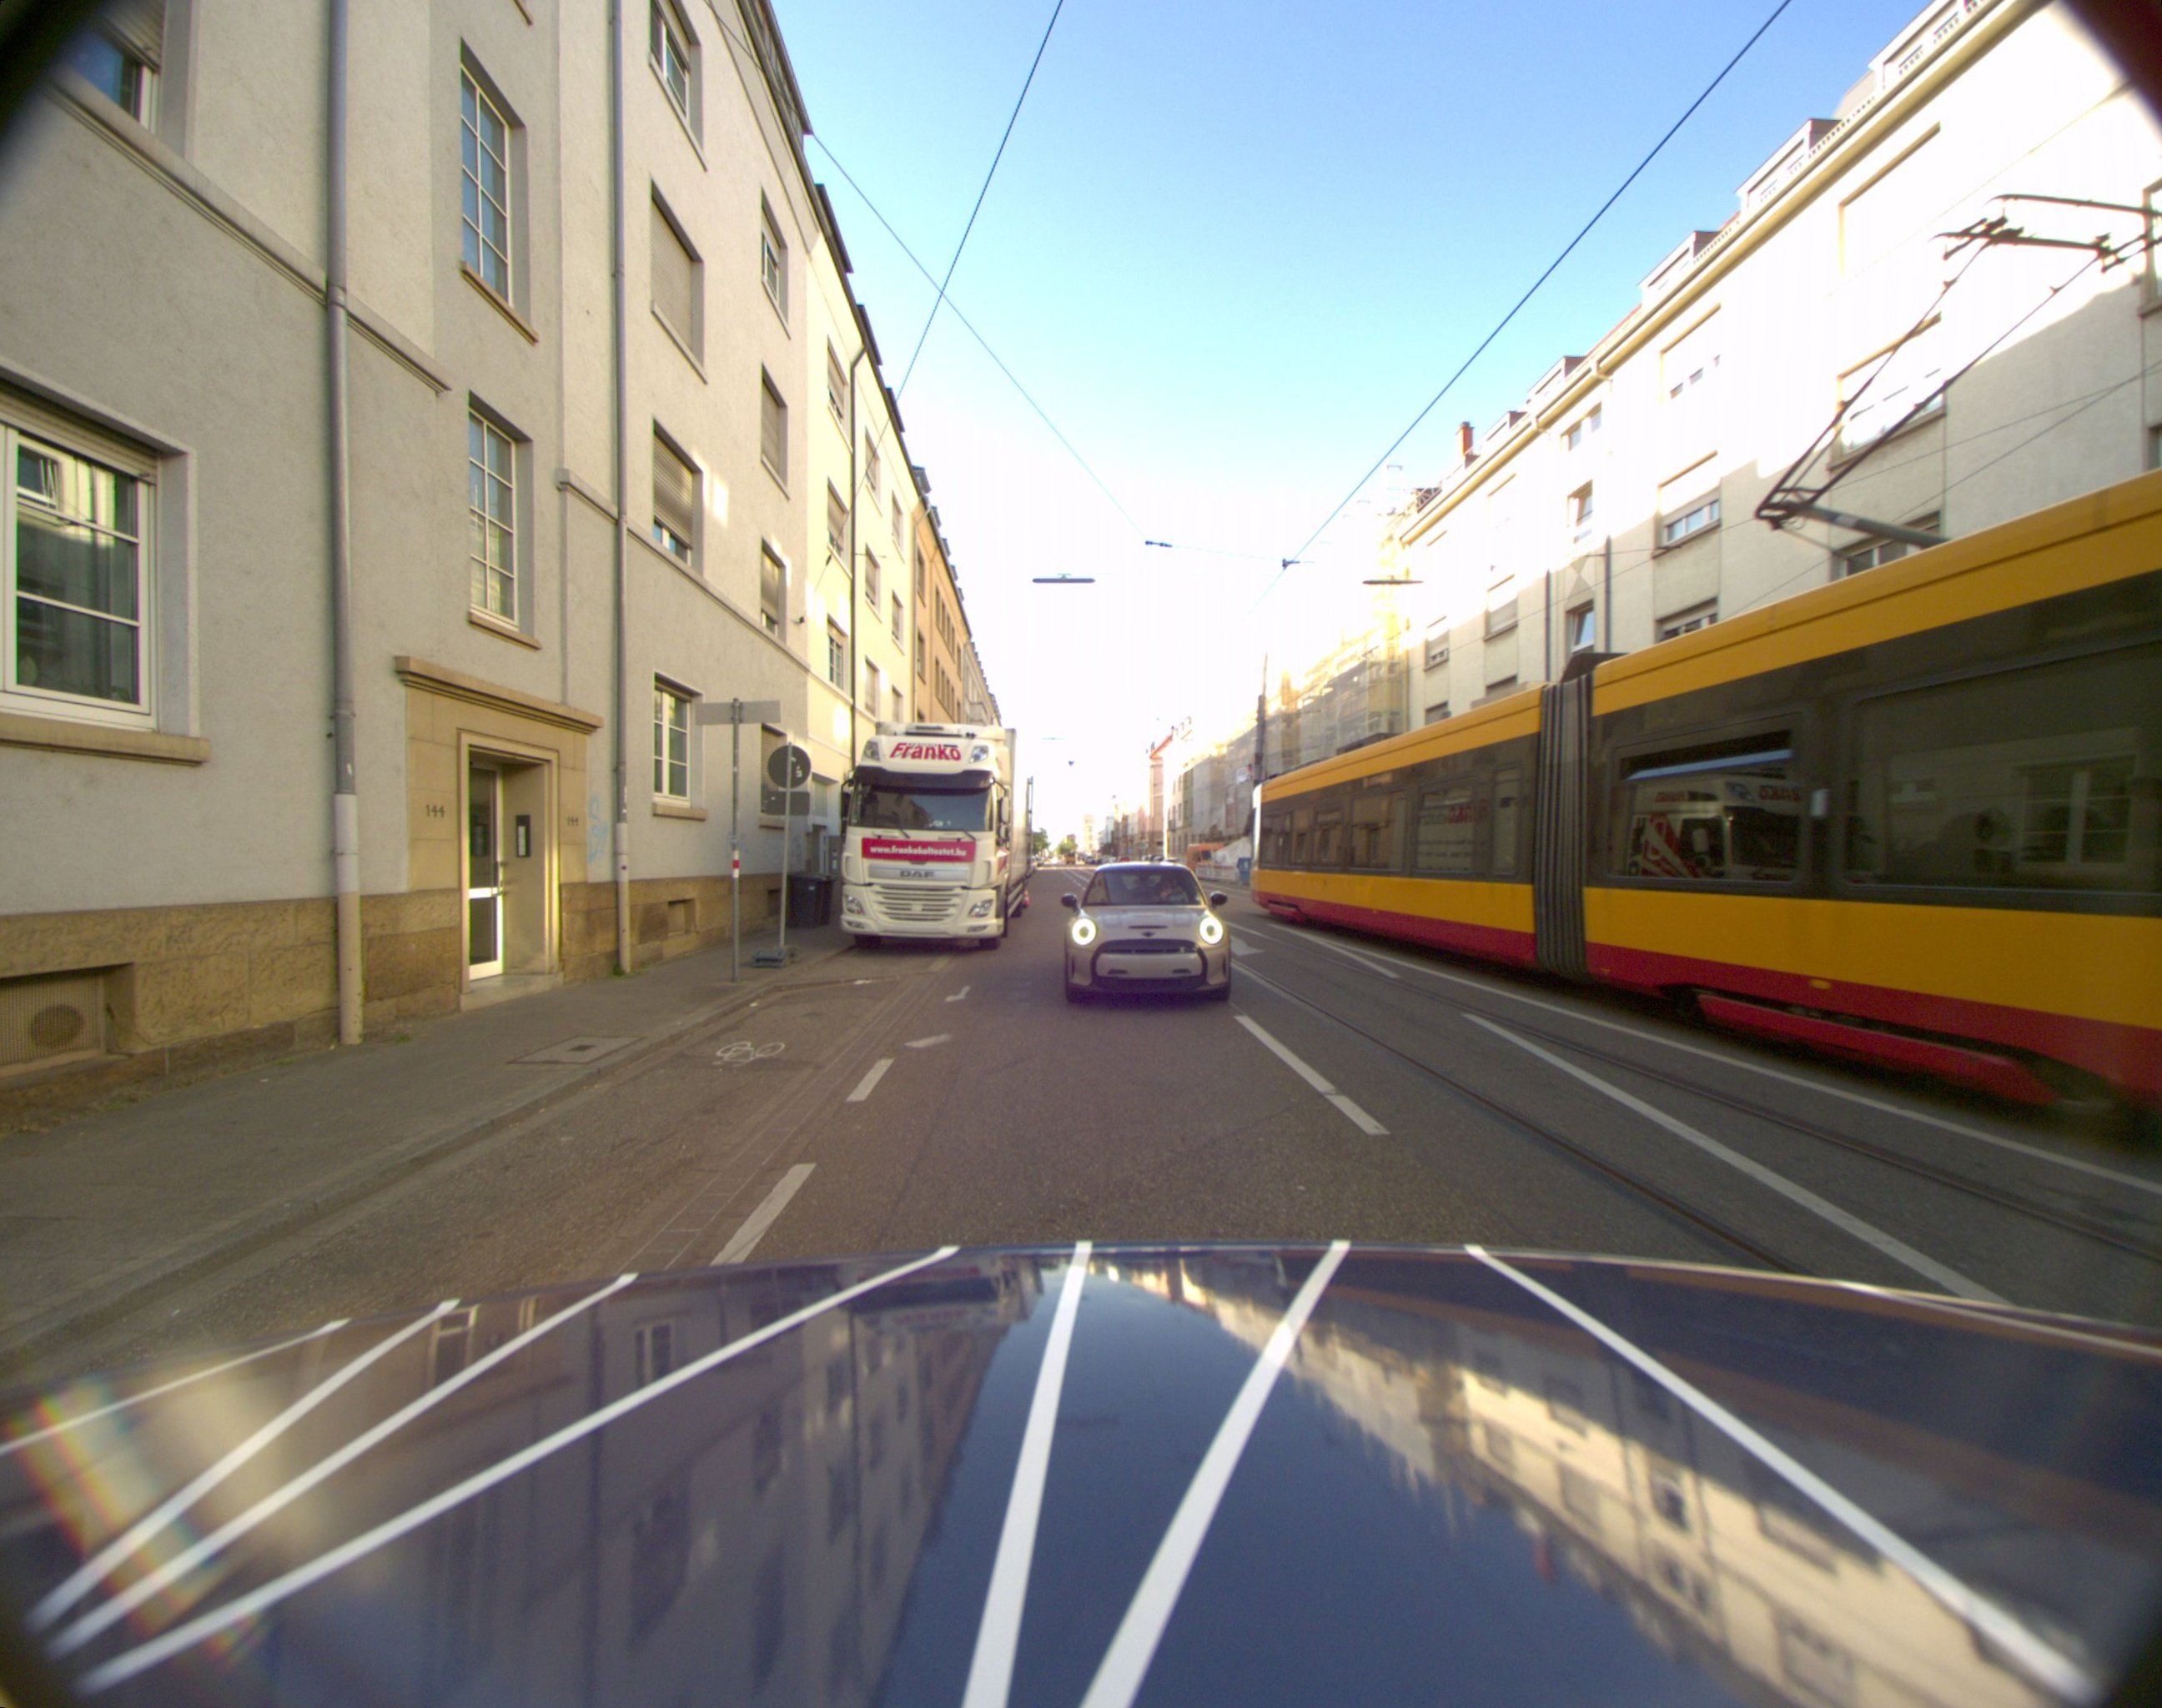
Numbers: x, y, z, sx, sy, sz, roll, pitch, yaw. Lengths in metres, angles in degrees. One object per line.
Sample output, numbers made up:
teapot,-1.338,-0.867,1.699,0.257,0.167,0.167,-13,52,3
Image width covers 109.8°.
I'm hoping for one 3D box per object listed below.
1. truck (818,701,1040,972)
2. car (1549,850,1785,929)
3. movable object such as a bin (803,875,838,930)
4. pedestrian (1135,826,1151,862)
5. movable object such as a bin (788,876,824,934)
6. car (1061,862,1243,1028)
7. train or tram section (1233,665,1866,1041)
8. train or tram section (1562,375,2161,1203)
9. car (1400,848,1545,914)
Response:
truck,-2.564,-0.255,17.169,2.899,3.939,11.704,-2,0,-2
car,11.116,0.598,14.746,1.751,1.269,3.488,-2,1,-4
movable object such as a bin,-5.344,0.987,15.614,0.512,1.085,0.495,-2,1,-4
pedestrian,7.663,-1.291,94.304,1.723,4.377,1.153,-2,1,2
movable object such as a bin,-5.421,0.990,14.997,0.512,1.085,0.495,-2,1,-4
car,0.654,0.864,9.041,1.692,1.495,4.000,0,0,0
train or tram section,5.779,-0.029,13.613,3.070,3.573,12.626,1,0,-2
train or tram section,6.156,-0.308,2.671,2.833,3.610,9.081,-2,1,-2
car,10.632,0.663,21.015,1.712,1.582,4.112,-2,1,-3
